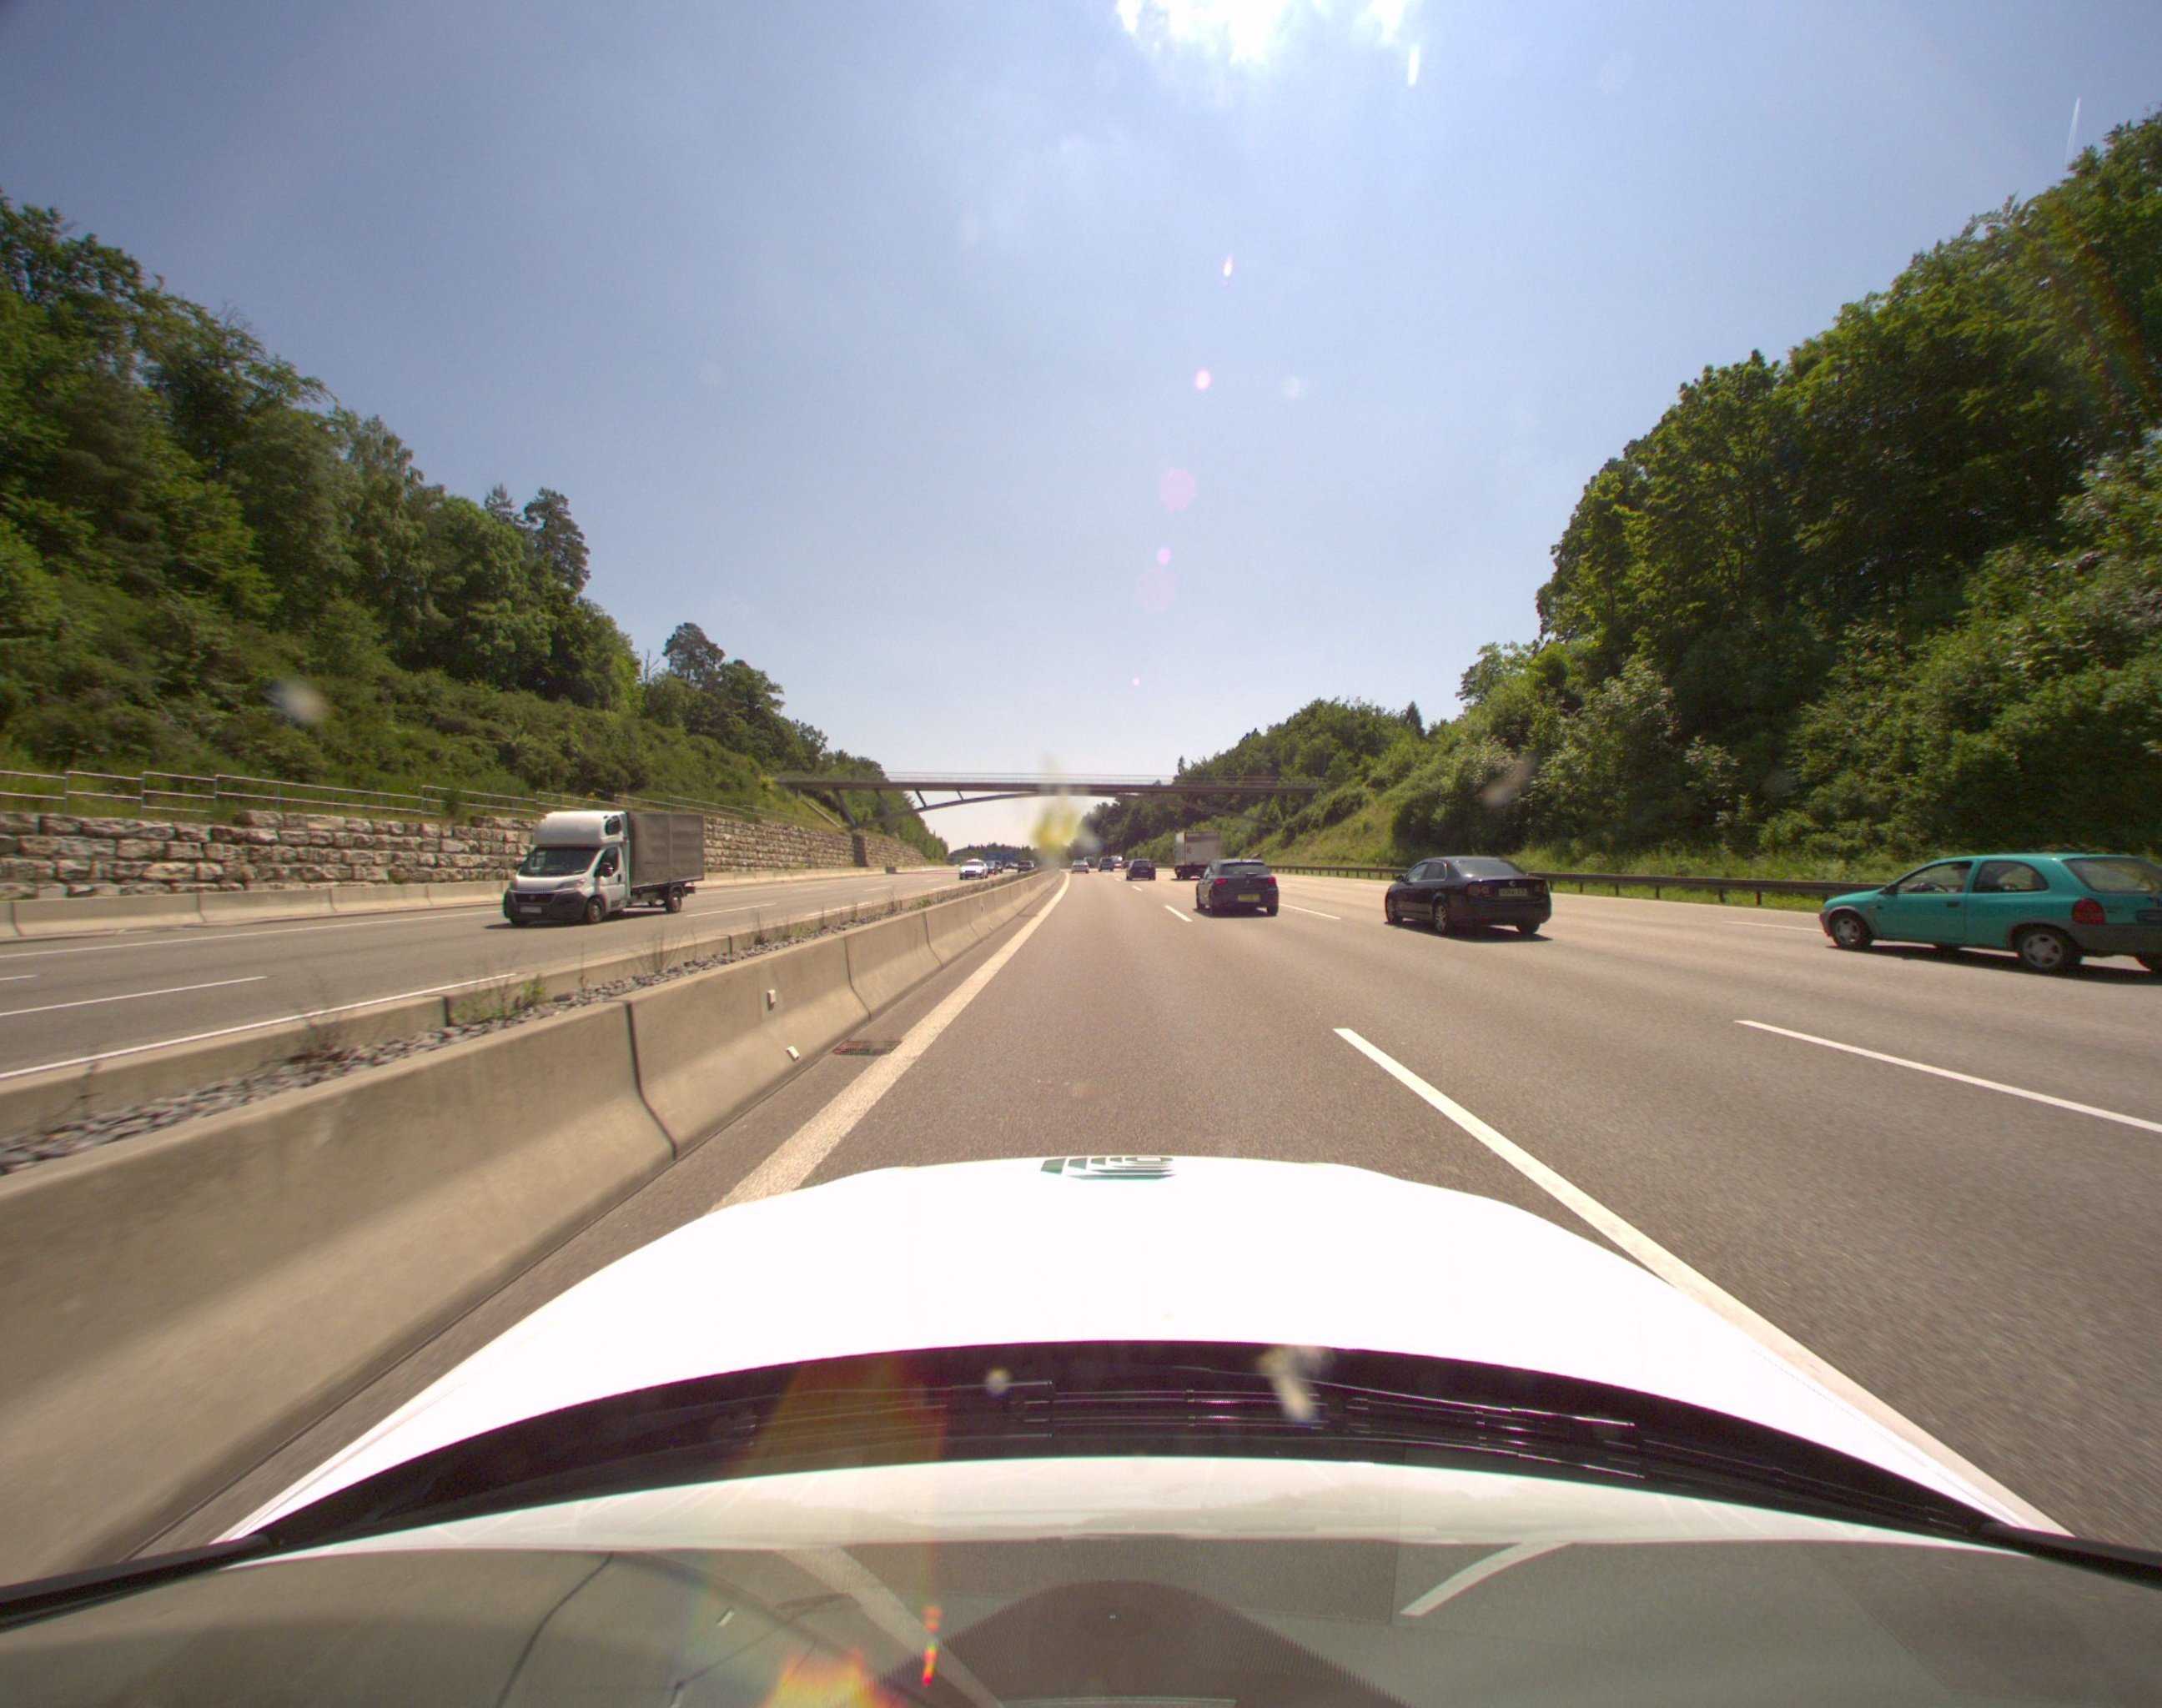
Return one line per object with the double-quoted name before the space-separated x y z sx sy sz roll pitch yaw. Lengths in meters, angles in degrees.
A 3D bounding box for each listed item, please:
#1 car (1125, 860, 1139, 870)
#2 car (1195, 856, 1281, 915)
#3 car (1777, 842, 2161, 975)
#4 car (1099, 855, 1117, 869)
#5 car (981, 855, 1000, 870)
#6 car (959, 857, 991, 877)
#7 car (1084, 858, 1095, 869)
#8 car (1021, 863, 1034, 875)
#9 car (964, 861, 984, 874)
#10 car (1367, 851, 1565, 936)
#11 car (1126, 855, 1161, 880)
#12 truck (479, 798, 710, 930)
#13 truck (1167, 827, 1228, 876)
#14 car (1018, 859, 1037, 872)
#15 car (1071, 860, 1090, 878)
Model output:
"car" 8.245 1.796 131.395 1.987 1.593 3.999 1 -1 0
"car" 4.141 0.786 22.020 1.701 1.433 4.002 0 0 2
"car" 12.056 0.603 11.099 1.539 1.444 4.343 -1 0 2
"car" 3.573 1.079 107.276 2.097 1.744 4.685 -1 0 -1
"car" -9.556 0.883 86.088 1.648 1.550 3.999 1 1 -1
"car" -8.522 1.061 65.824 1.895 1.496 4.804 -1 0 0
"car" 1.874 2.013 179.425 2.257 2.371 4.701 -1 -1 1
"car" -8.771 2.520 134.215 1.989 2.014 3.995 1 -2 -3
"car" -13.740 1.743 104.376 1.987 1.618 4.000 -1 0 1
"car" 7.334 0.654 16.142 1.659 1.408 4.903 -1 0 1
"car" 4.219 0.869 55.822 1.987 1.634 4.759 -1 0 0
"truck" -13.279 0.232 23.053 2.268 3.143 6.920 0 0 1
"truck" 7.917 -0.152 56.442 2.977 3.167 7.571 -1 0 -1
"car" -6.768 1.438 103.261 1.987 1.618 4.000 -1 0 1
"car" -0.062 1.657 89.087 2.006 1.846 3.998 0 -3 0
